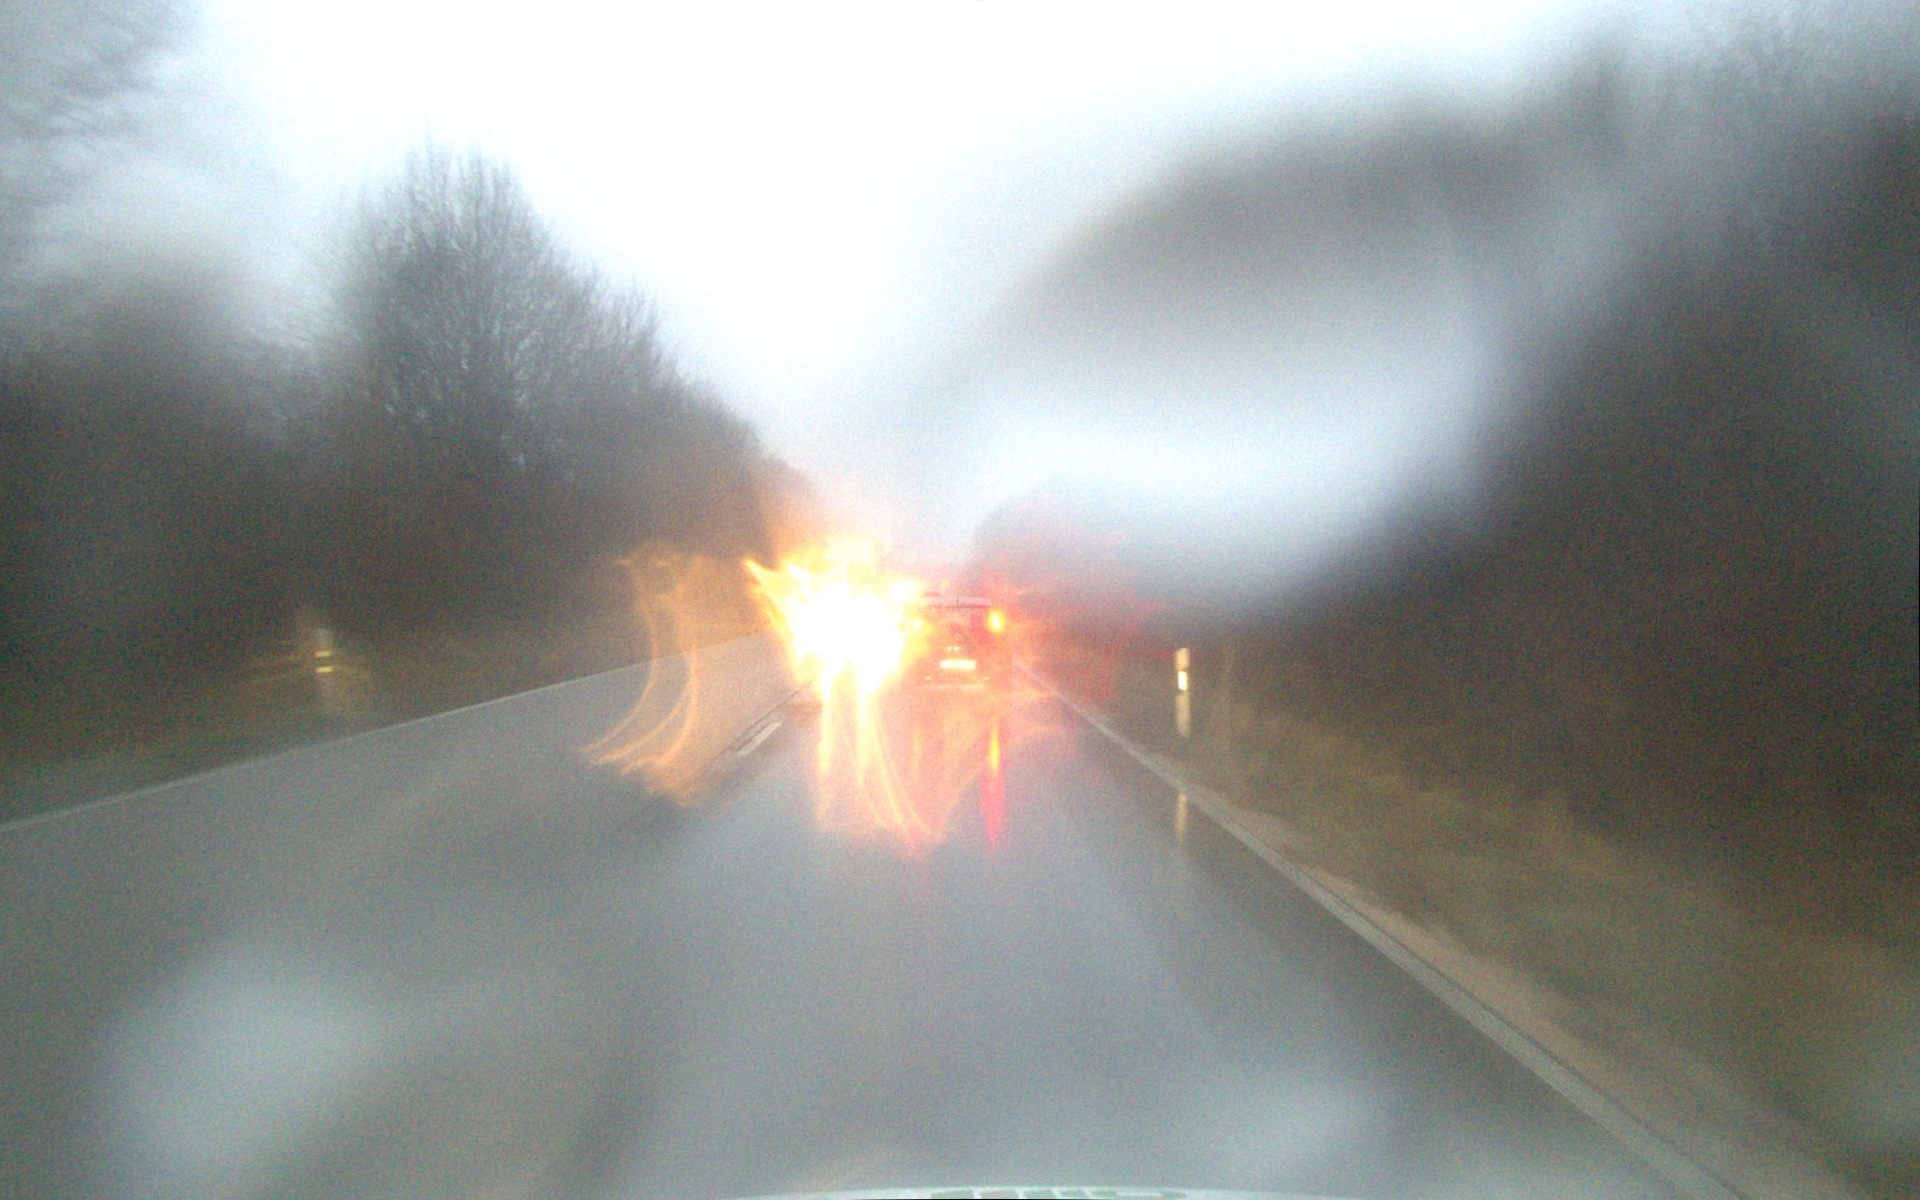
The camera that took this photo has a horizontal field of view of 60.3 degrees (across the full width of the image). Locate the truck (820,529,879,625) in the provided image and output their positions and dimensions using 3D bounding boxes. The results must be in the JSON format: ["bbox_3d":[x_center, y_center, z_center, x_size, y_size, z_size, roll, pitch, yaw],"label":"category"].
[{"bbox_3d":[-5.386,-1.089,81.118,2.588,4.493,5.552,1,0,-1],"label":"truck"}]

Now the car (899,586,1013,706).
[{"bbox_3d":[-0.079,0.653,25.512,1.614,1.701,3.513,1,0,-1],"label":"car"}]

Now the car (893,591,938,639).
[{"bbox_3d":[-1.738,0.563,65.165,1.698,1.810,3.999,1,0,-2],"label":"car"}]
